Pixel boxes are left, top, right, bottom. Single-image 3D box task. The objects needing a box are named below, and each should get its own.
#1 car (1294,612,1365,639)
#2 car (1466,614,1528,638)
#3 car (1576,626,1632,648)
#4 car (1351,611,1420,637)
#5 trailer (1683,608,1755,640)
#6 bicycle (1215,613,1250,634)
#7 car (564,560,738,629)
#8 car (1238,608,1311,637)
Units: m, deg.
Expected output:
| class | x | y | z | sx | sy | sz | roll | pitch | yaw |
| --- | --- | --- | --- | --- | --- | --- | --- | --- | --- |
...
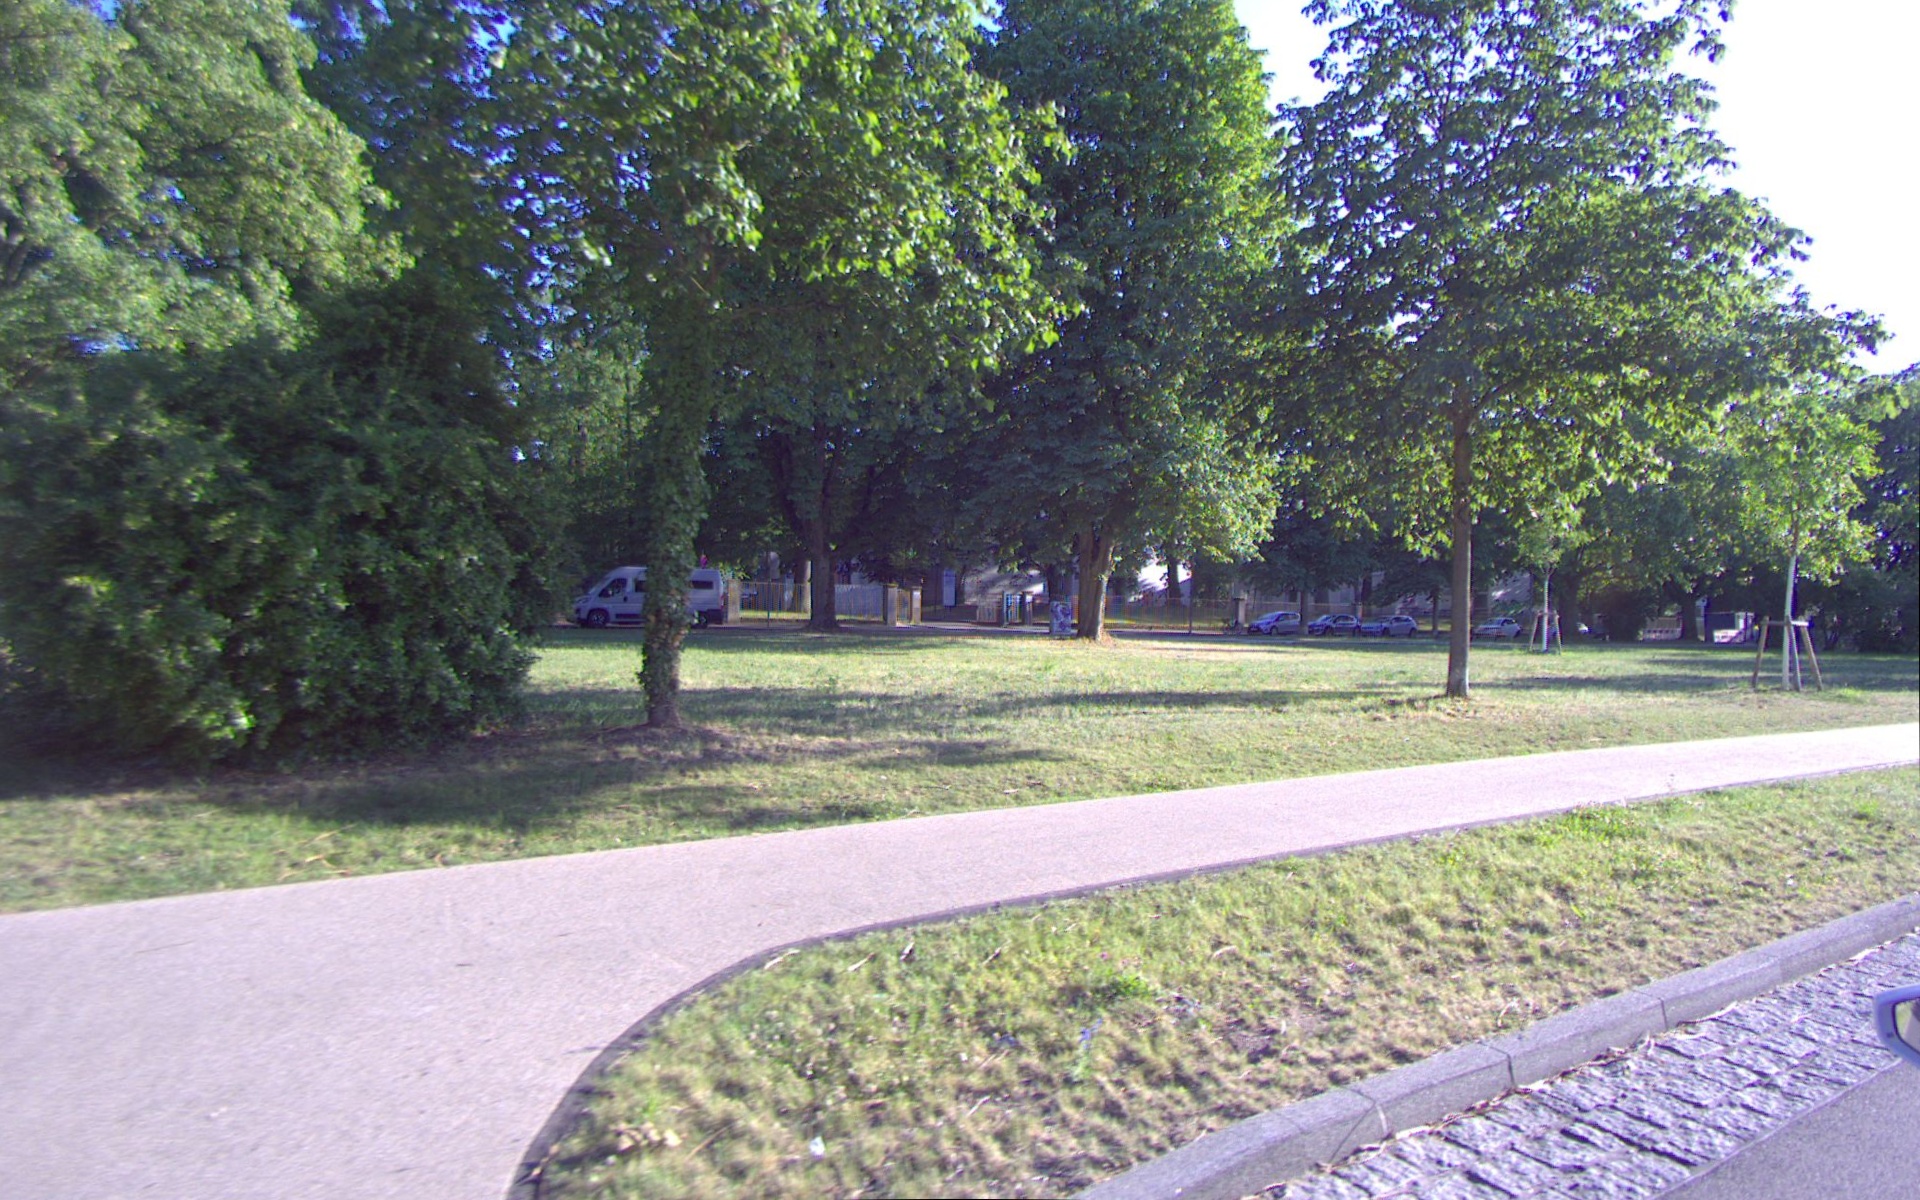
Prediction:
| class | x | y | z | sx | sy | sz | roll | pitch | yaw |
| --- | --- | --- | --- | --- | --- | --- | --- | --- | --- |
| car | 22.681 | 1.551 | 61.652 | 3.952 | 1.528 | 1.984 | 2 | -1 | -30 |
| car | 37.695 | 1.807 | 70.495 | 4.066 | 1.528 | 1.984 | 2 | -1 | -30 |
| car | 49.940 | 2.866 | 77.906 | 4.066 | 1.528 | 1.984 | 2 | -1 | -30 |
| car | 27.239 | 1.508 | 64.289 | 4.066 | 1.528 | 1.984 | 2 | -1 | -30 |
| trailer | 65.997 | 2.079 | 87.318 | 6.966 | 2.522 | 2.448 | 2 | -1 | -30 |
| bicycle | 16.258 | 1.433 | 59.920 | 2.309 | 1.191 | 0.653 | 2 | -1 | -33 |
| car | -12.515 | -0.152 | 40.805 | 6.248 | 2.496 | 2.706 | 2 | -1 | -32 |
| car | 18.554 | 1.330 | 59.237 | 3.952 | 1.528 | 1.984 | 2 | -1 | -30 |
